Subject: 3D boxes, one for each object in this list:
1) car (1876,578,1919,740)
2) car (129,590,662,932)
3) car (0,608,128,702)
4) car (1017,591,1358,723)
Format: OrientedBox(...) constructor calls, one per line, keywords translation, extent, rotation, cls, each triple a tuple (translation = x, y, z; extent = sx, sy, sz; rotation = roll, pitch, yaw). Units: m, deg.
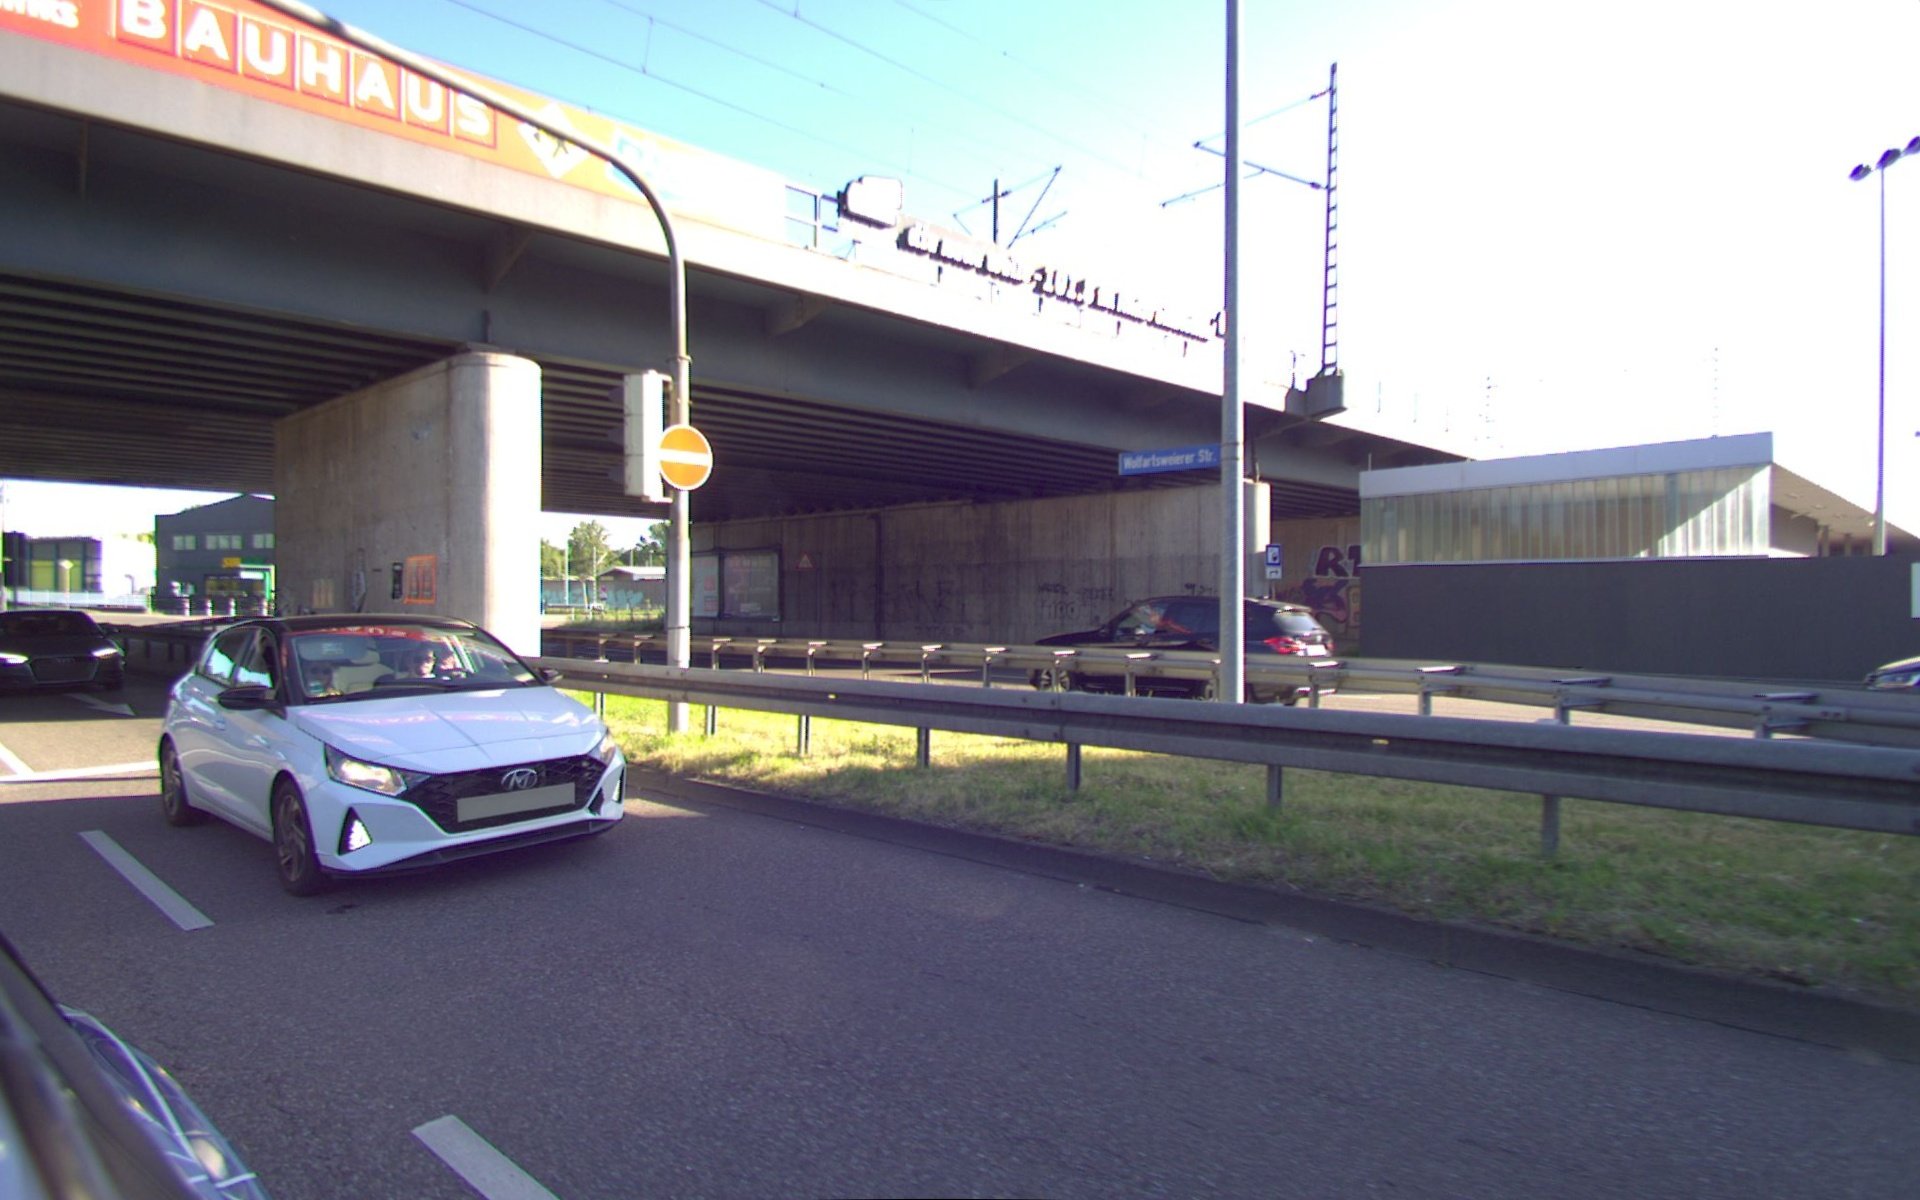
OrientedBox(translation=(12.458, 0.674, 10.304), extent=(4.628, 1.751, 1.805), rotation=(0, -2, 42), cls="car")
OrientedBox(translation=(-3.777, 0.741, 6.461), extent=(3.989, 1.491, 1.715), rotation=(-1, 0, 41), cls="car")
OrientedBox(translation=(-15.975, 0.896, 17.470), extent=(3.979, 1.431, 1.825), rotation=(-2, -1, 40), cls="car")
OrientedBox(translation=(3.167, 0.742, 14.685), extent=(4.527, 1.638, 1.805), rotation=(0, -2, 41), cls="car")
